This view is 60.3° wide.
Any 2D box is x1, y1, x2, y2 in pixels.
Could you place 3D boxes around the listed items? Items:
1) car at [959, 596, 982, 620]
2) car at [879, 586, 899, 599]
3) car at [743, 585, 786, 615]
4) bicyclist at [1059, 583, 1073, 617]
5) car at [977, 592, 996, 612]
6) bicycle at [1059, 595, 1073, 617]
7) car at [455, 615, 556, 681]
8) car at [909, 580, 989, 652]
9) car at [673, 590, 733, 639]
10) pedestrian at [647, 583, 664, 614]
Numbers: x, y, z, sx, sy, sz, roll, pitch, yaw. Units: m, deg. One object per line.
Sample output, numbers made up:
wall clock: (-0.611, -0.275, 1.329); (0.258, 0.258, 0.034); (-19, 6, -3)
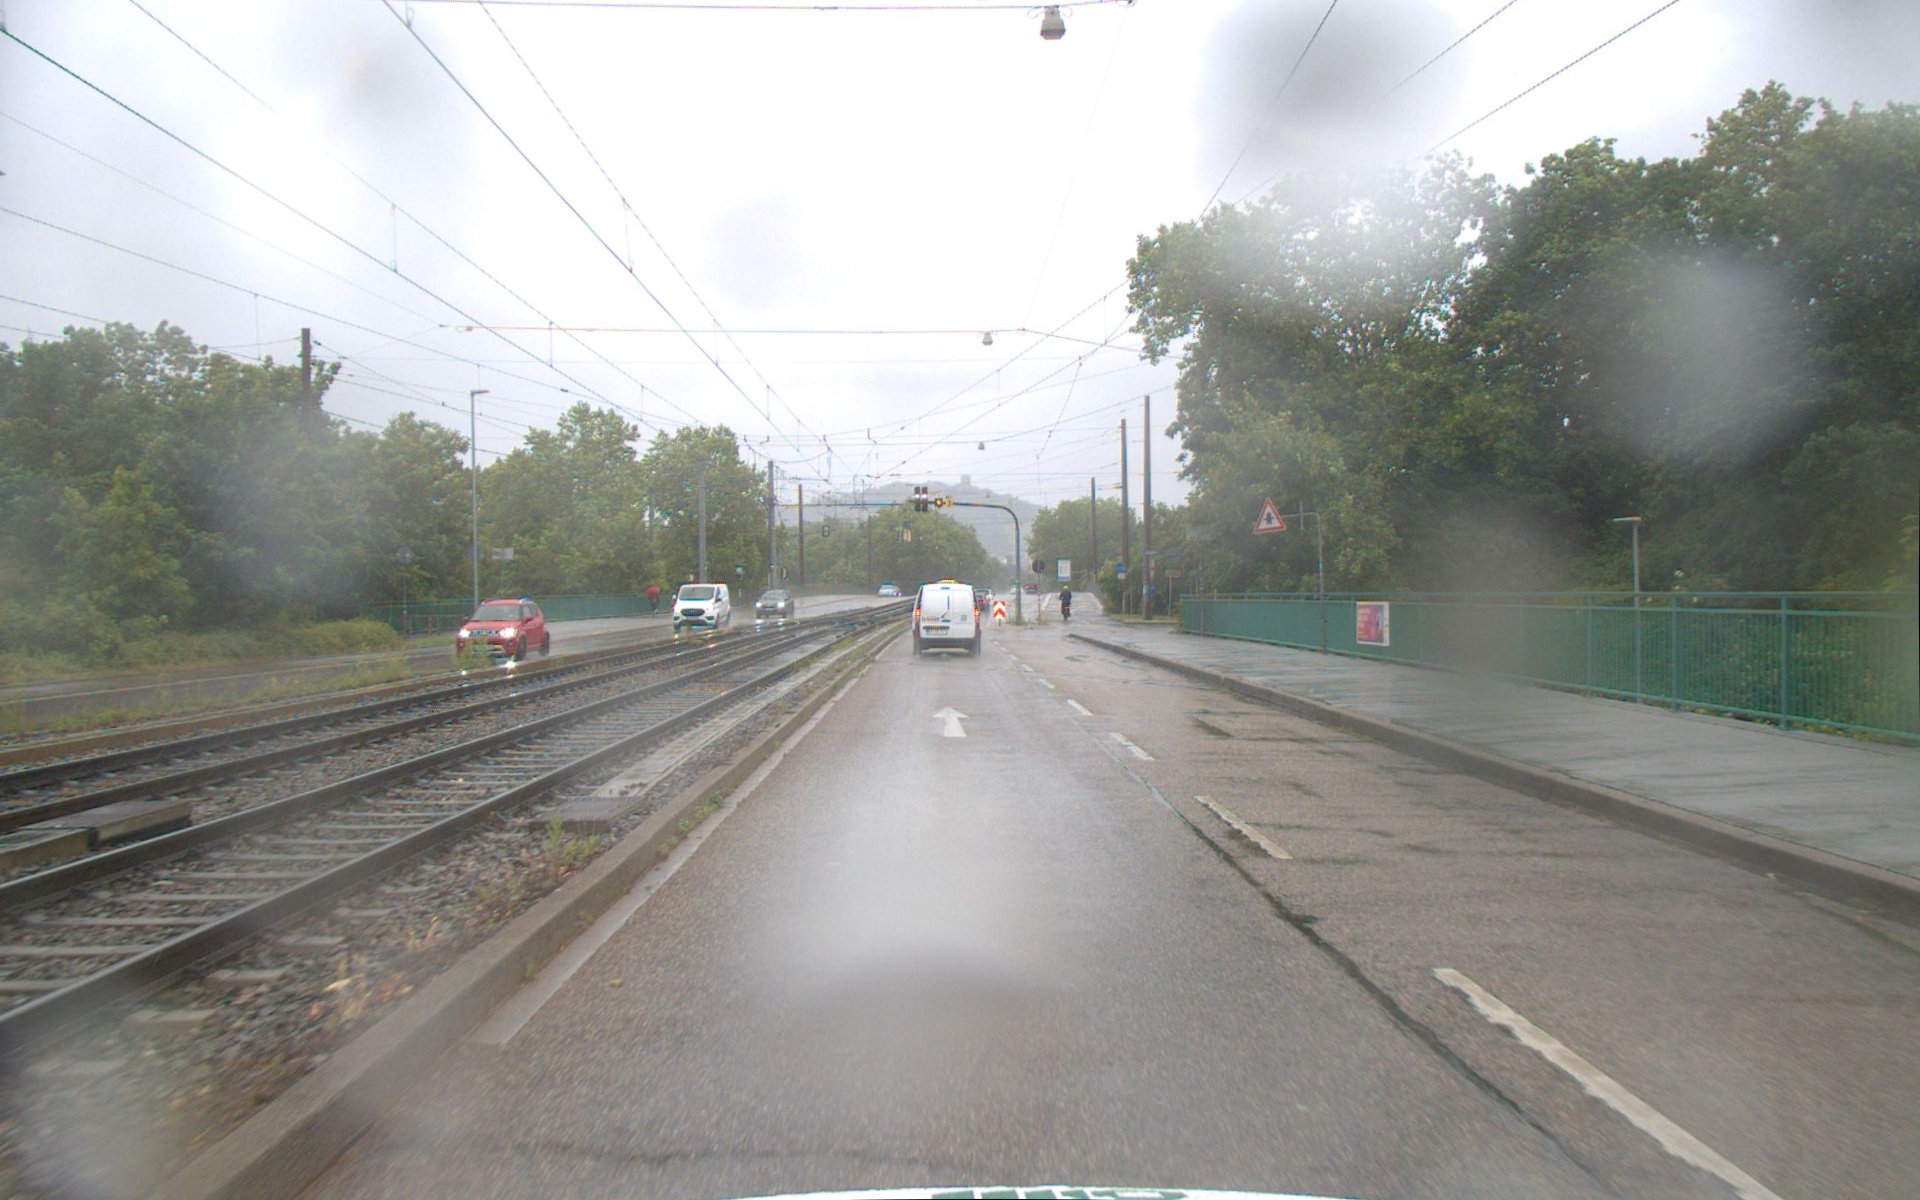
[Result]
car: (0.695, 0.544, 108.592); (1.421, 1.526, 2.982); (1, 0, -1)
car: (-8.249, -0.905, 193.085); (1.894, 1.252, 4.102); (-2, 2, 3)
car: (-11.444, -0.006, 97.270); (1.953, 1.677, 5.370); (1, 0, -1)
bicyclist: (5.707, 0.013, 89.134); (0.710, 1.794, 0.949); (1, -1, 3)
car: (2.027, 0.182, 127.019); (1.421, 1.526, 2.982); (1, 0, -1)
bicycle: (5.704, 0.314, 89.101); (0.708, 1.148, 2.169); (1, 0, 4)
car: (-11.923, 1.234, 43.594); (1.689, 1.629, 3.650); (1, 0, -1)
car: (-0.320, 0.400, 43.039); (1.953, 1.756, 3.999); (1, 0, -1)
car: (-11.550, 0.610, 74.529); (1.953, 2.079, 5.027); (1, 0, -1)
pedestrian: (-18.635, -0.081, 101.242); (0.846, 1.850, 1.043); (1, -1, 1)
